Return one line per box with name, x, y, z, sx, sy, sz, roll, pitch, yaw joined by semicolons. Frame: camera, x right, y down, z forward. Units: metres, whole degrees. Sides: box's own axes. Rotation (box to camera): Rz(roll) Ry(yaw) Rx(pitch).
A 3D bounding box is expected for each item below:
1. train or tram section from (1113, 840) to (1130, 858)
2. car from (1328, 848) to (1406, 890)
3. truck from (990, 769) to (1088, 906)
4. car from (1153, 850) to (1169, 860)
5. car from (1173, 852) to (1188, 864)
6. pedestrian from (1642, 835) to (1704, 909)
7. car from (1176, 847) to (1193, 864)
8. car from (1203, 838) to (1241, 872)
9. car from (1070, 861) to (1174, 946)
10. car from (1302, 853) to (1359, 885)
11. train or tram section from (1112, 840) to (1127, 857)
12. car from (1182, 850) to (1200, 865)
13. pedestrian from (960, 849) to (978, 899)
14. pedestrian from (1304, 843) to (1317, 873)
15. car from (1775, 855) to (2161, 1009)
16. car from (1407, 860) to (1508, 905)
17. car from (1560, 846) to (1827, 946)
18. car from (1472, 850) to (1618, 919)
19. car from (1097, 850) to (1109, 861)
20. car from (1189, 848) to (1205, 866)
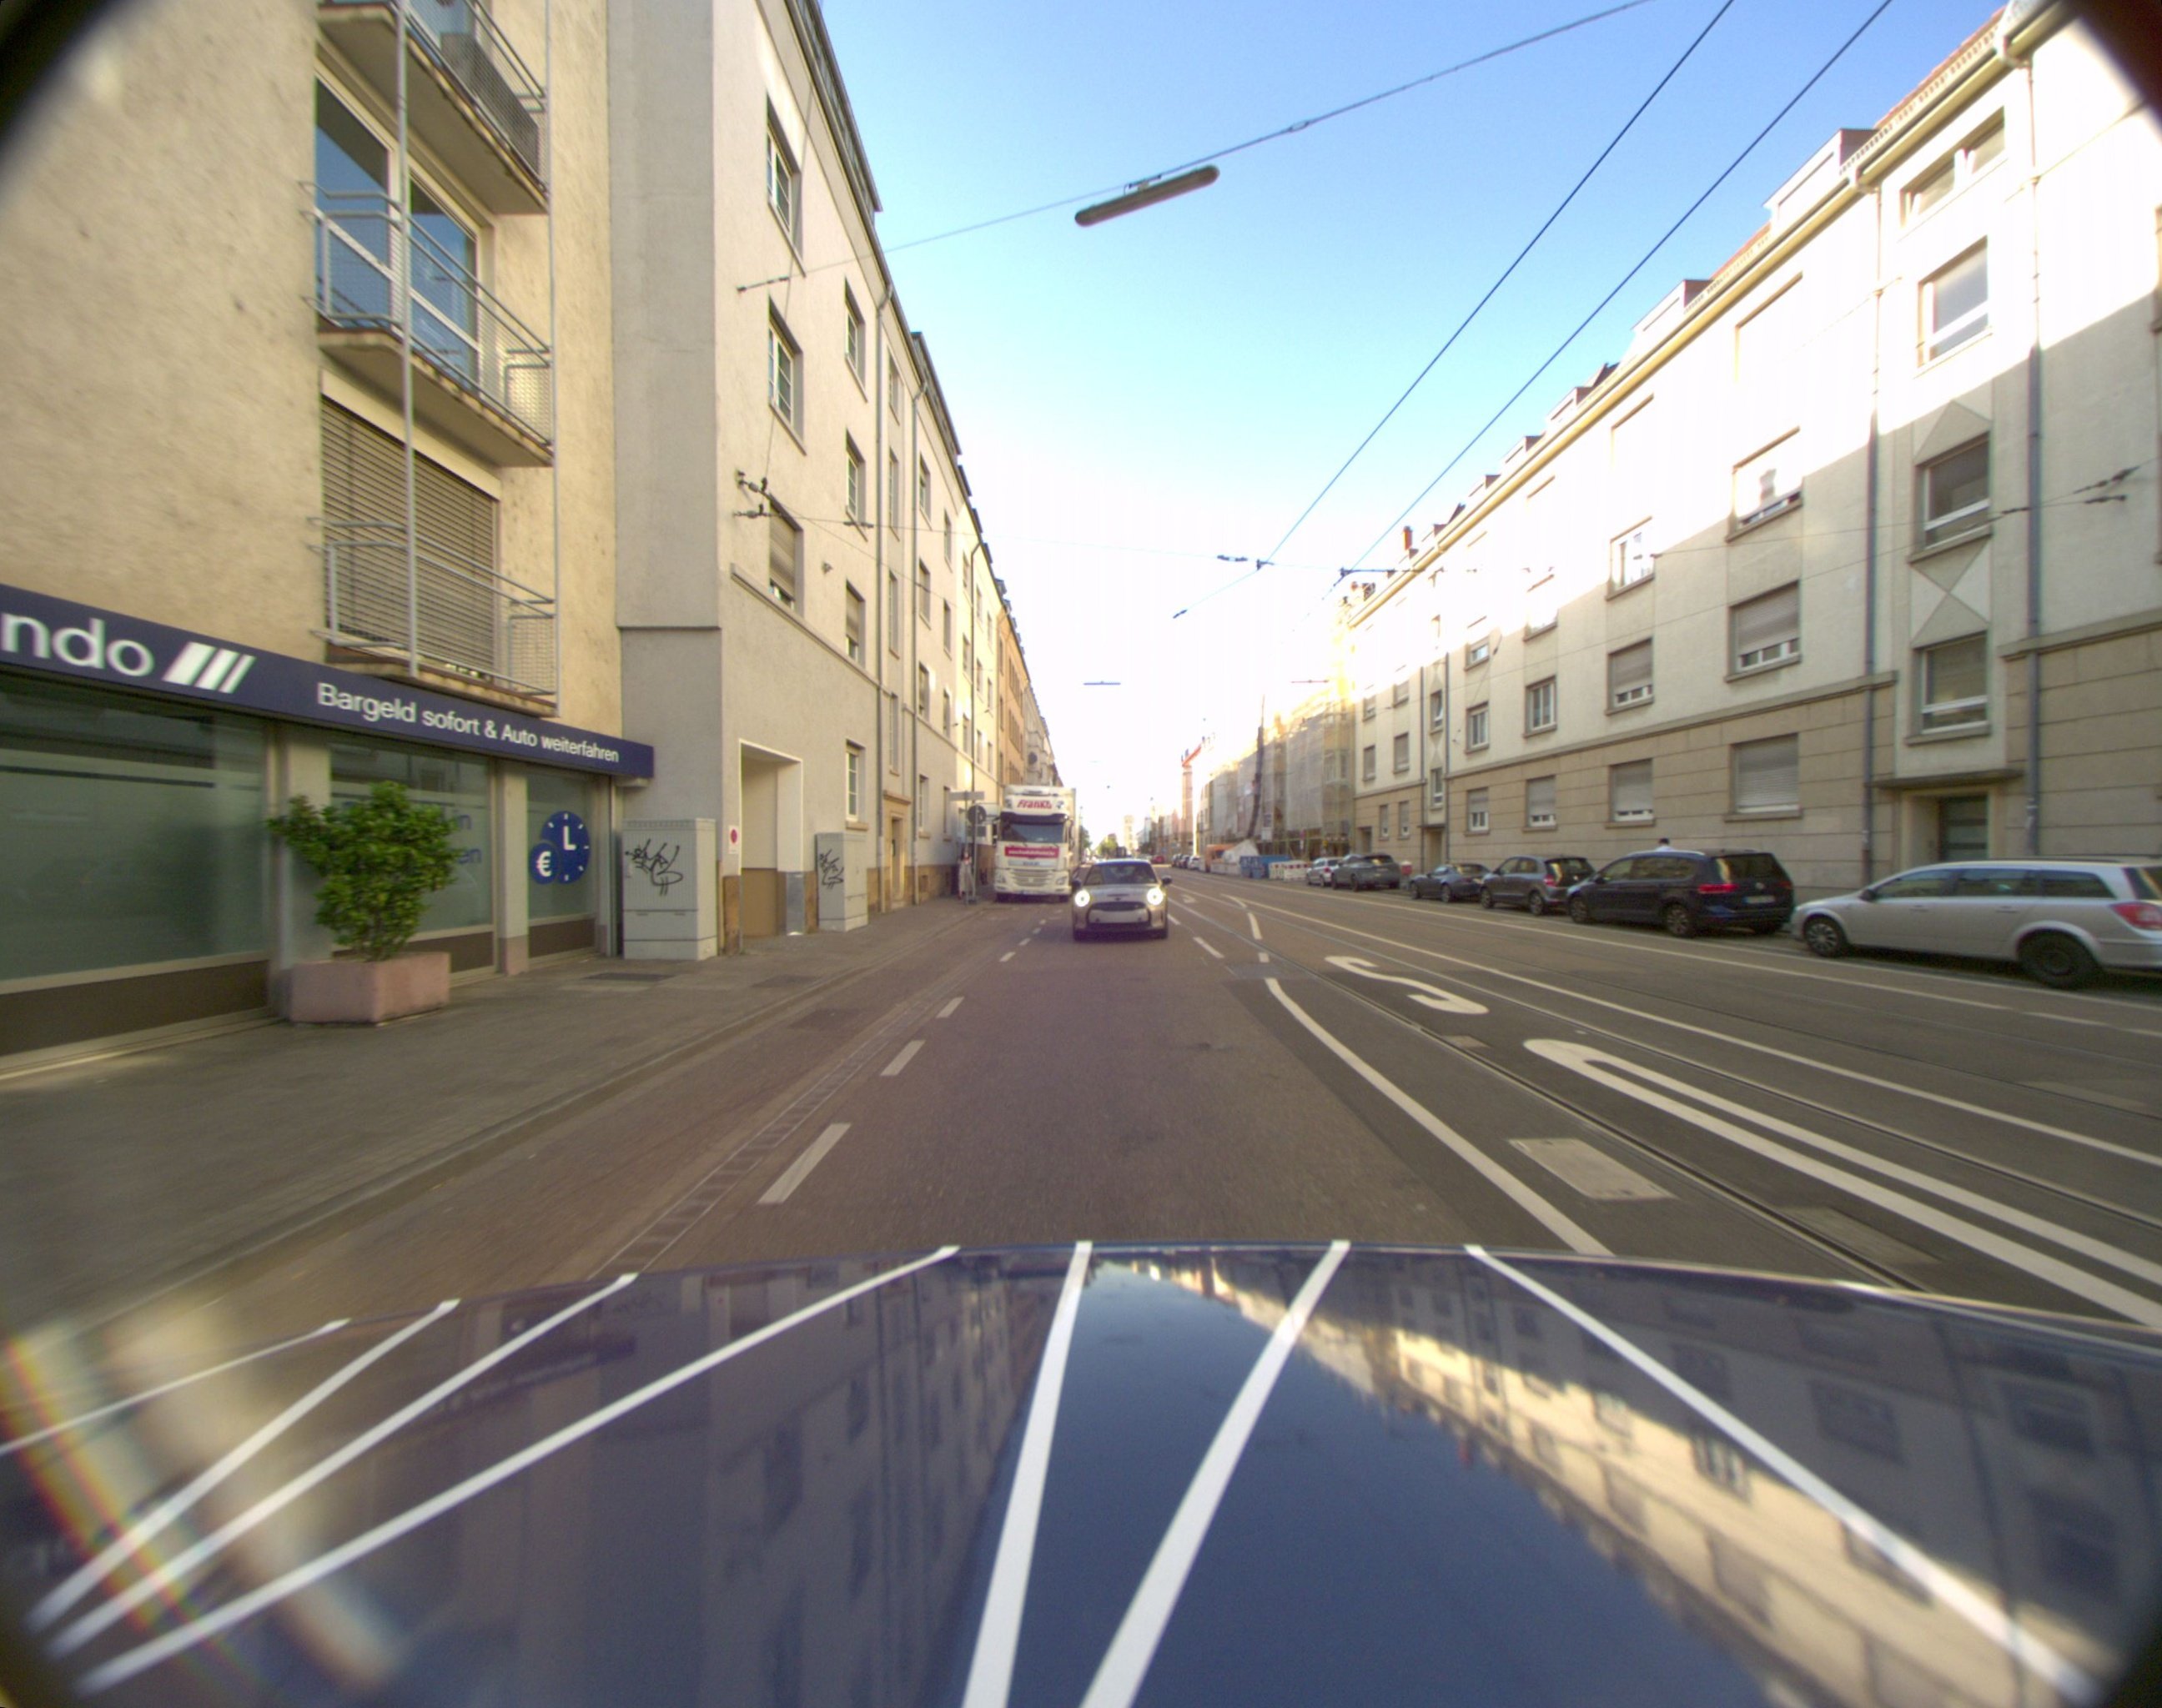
train or tram section;8.443;-1.076;158.416;2.866;3.542;13.041;-1;1;0
car;12.344;0.611;33.079;1.751;1.600;4.158;-3;1;-1
truck;-1.251;-0.607;29.391;2.699;4.214;11.776;-1;1;2
car;13.830;0.191;131.234;2.231;1.518;4.960;-2;1;2
car;13.229;0.539;100.806;1.532;1.518;3.600;-2;1;2
pedestrian;14.649;0.420;18.828;0.664;1.757;1.005;-3;1;-6
car;12.966;0.141;95.307;1.570;1.945;4.184;-2;1;2
car;12.000;0.046;65.217;2.215;2.681;5.873;-2;1;1
car;0.784;0.853;14.736;1.727;1.416;3.818;-1;0;3
car;12.268;0.715;37.539;1.564;1.372;3.507;-3;1;-1
train or tram section;8.555;-1.212;170.712;2.866;3.542;13.333;-1;1;0
car;12.825;0.360;88.806;1.570;1.674;3.936;-2;1;2
pedestrian;-3.668;0.643;24.901;0.475;1.620;0.467;0;1;3
pedestrian;14.607;0.228;48.362;0.519;1.861;0.763;-2;1;1
car;11.932;0.809;9.899;1.729;1.446;4.370;-3;1;-1
car;12.134;0.865;24.748;1.476;1.212;3.523;-3;1;-1
car;11.964;0.709;15.306;1.819;1.624;4.324;-3;1;-1
car;12.121;0.728;20.125;1.643;1.549;3.595;-3;1;1
car;4.030;0.220;141.871;1.999;1.871;4.270;-2;1;0
car;12.644;0.302;83.011;1.657;1.911;3.767;-2;1;8
